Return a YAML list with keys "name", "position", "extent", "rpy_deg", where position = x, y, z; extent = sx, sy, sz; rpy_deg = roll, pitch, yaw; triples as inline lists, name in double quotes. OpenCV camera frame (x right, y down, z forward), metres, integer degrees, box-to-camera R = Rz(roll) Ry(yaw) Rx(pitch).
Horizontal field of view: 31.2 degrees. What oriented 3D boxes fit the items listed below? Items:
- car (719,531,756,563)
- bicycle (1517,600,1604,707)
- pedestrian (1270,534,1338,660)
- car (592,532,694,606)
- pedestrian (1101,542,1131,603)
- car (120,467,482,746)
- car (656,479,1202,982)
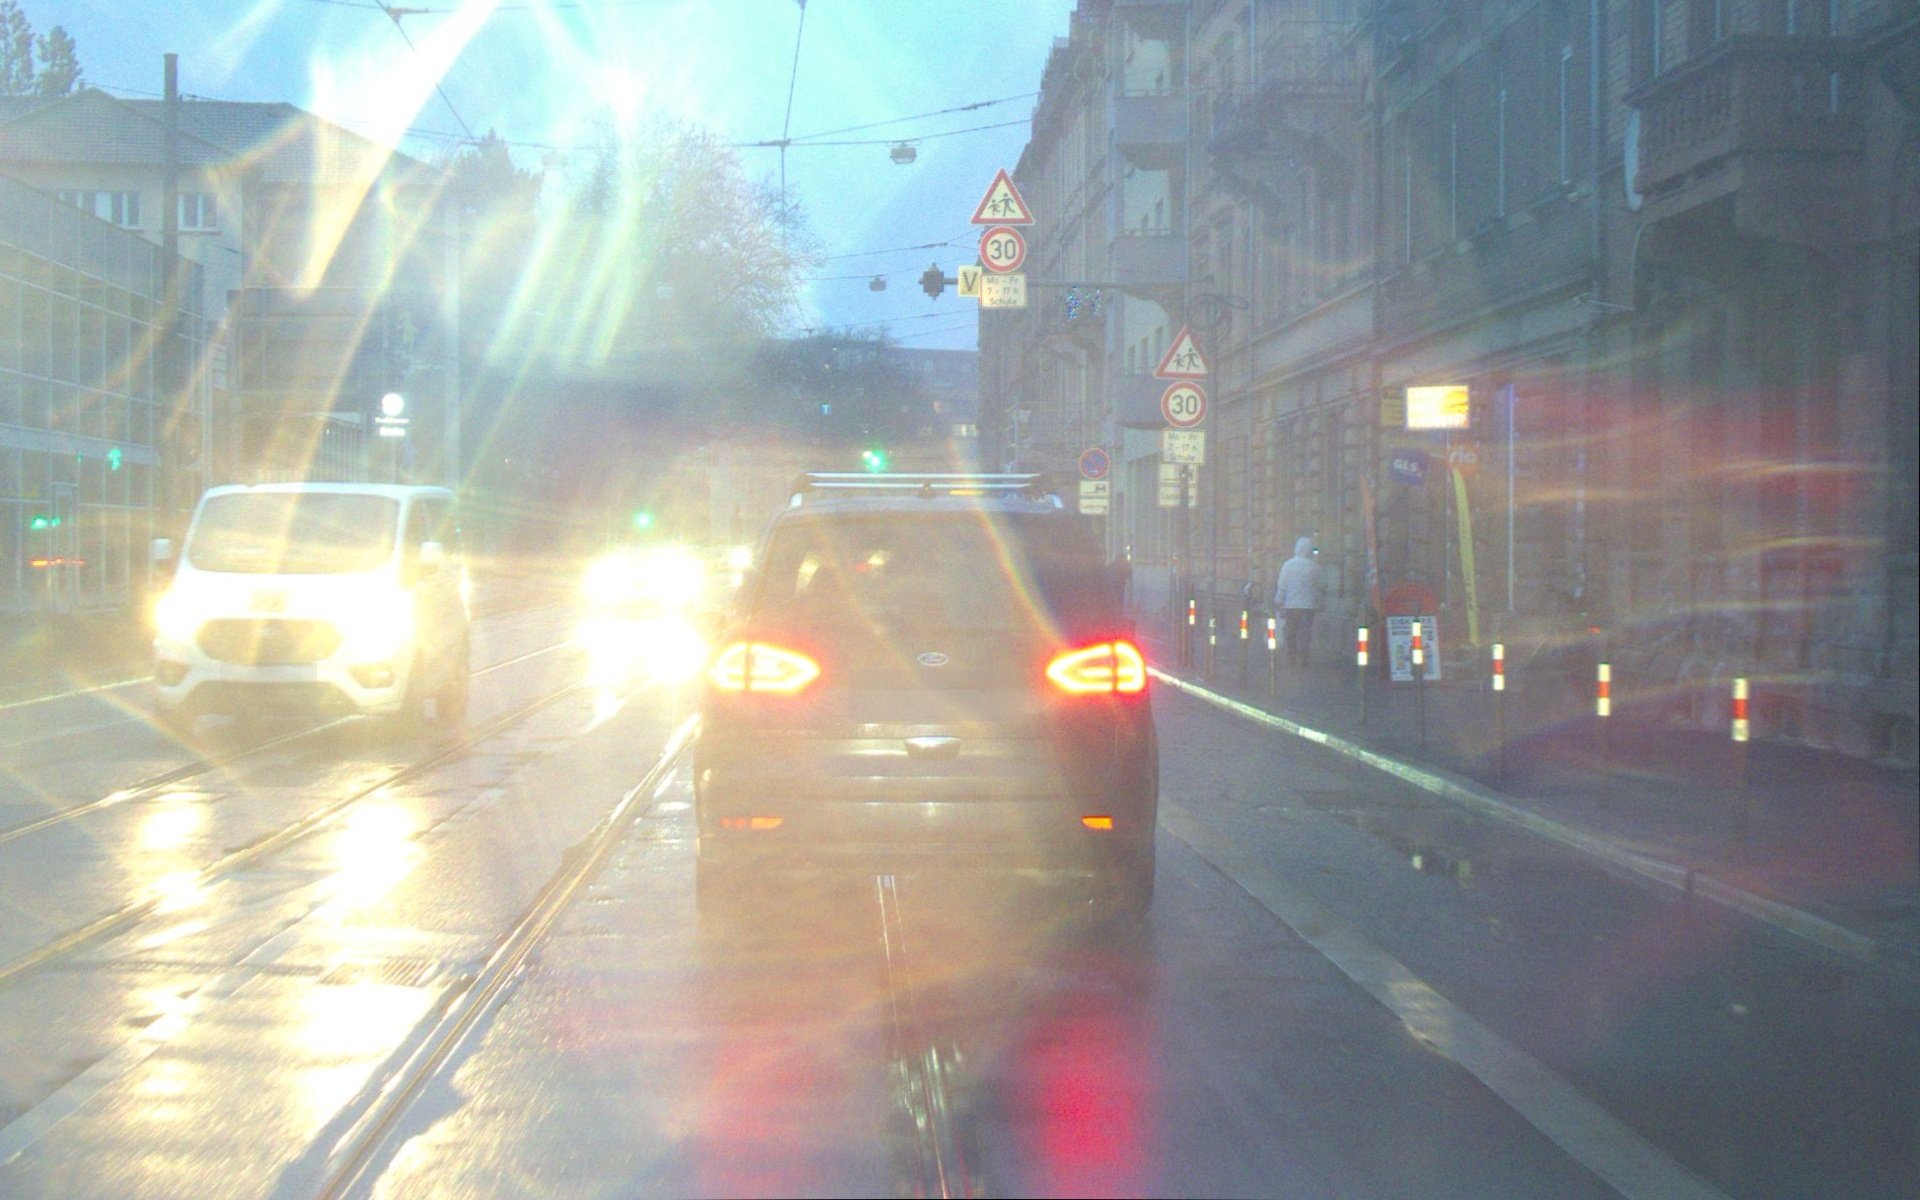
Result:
- name: "car"
  position: [-12.175, -2.887, 188.171]
  extent: [1.875, 1.704, 4.761]
  rpy_deg: [-1, 1, -3]
- name: "bicycle"
  position: [5.442, 0.470, 31.201]
  extent: [0.397, 0.908, 1.867]
  rpy_deg: [0, 1, -2]
- name: "pedestrian"
  position: [4.379, -0.042, 43.809]
  extent: [0.786, 1.592, 0.742]
  rpy_deg: [0, 1, -1]
- name: "car"
  position: [-6.891, -0.687, 75.182]
  extent: [1.841, 1.573, 4.442]
  rpy_deg: [0, 1, 0]
- name: "pedestrian"
  position: [3.560, -0.623, 78.376]
  extent: [0.600, 1.372, 0.728]
  rpy_deg: [1, 0, -2]
- name: "car"
  position: [-5.116, 0.026, 27.314]
  extent: [1.993, 2.007, 4.685]
  rpy_deg: [1, 0, 0]
- name: "car"
  position: [-0.086, 0.451, 14.633]
  extent: [1.993, 1.835, 4.000]
  rpy_deg: [0, 1, 1]
